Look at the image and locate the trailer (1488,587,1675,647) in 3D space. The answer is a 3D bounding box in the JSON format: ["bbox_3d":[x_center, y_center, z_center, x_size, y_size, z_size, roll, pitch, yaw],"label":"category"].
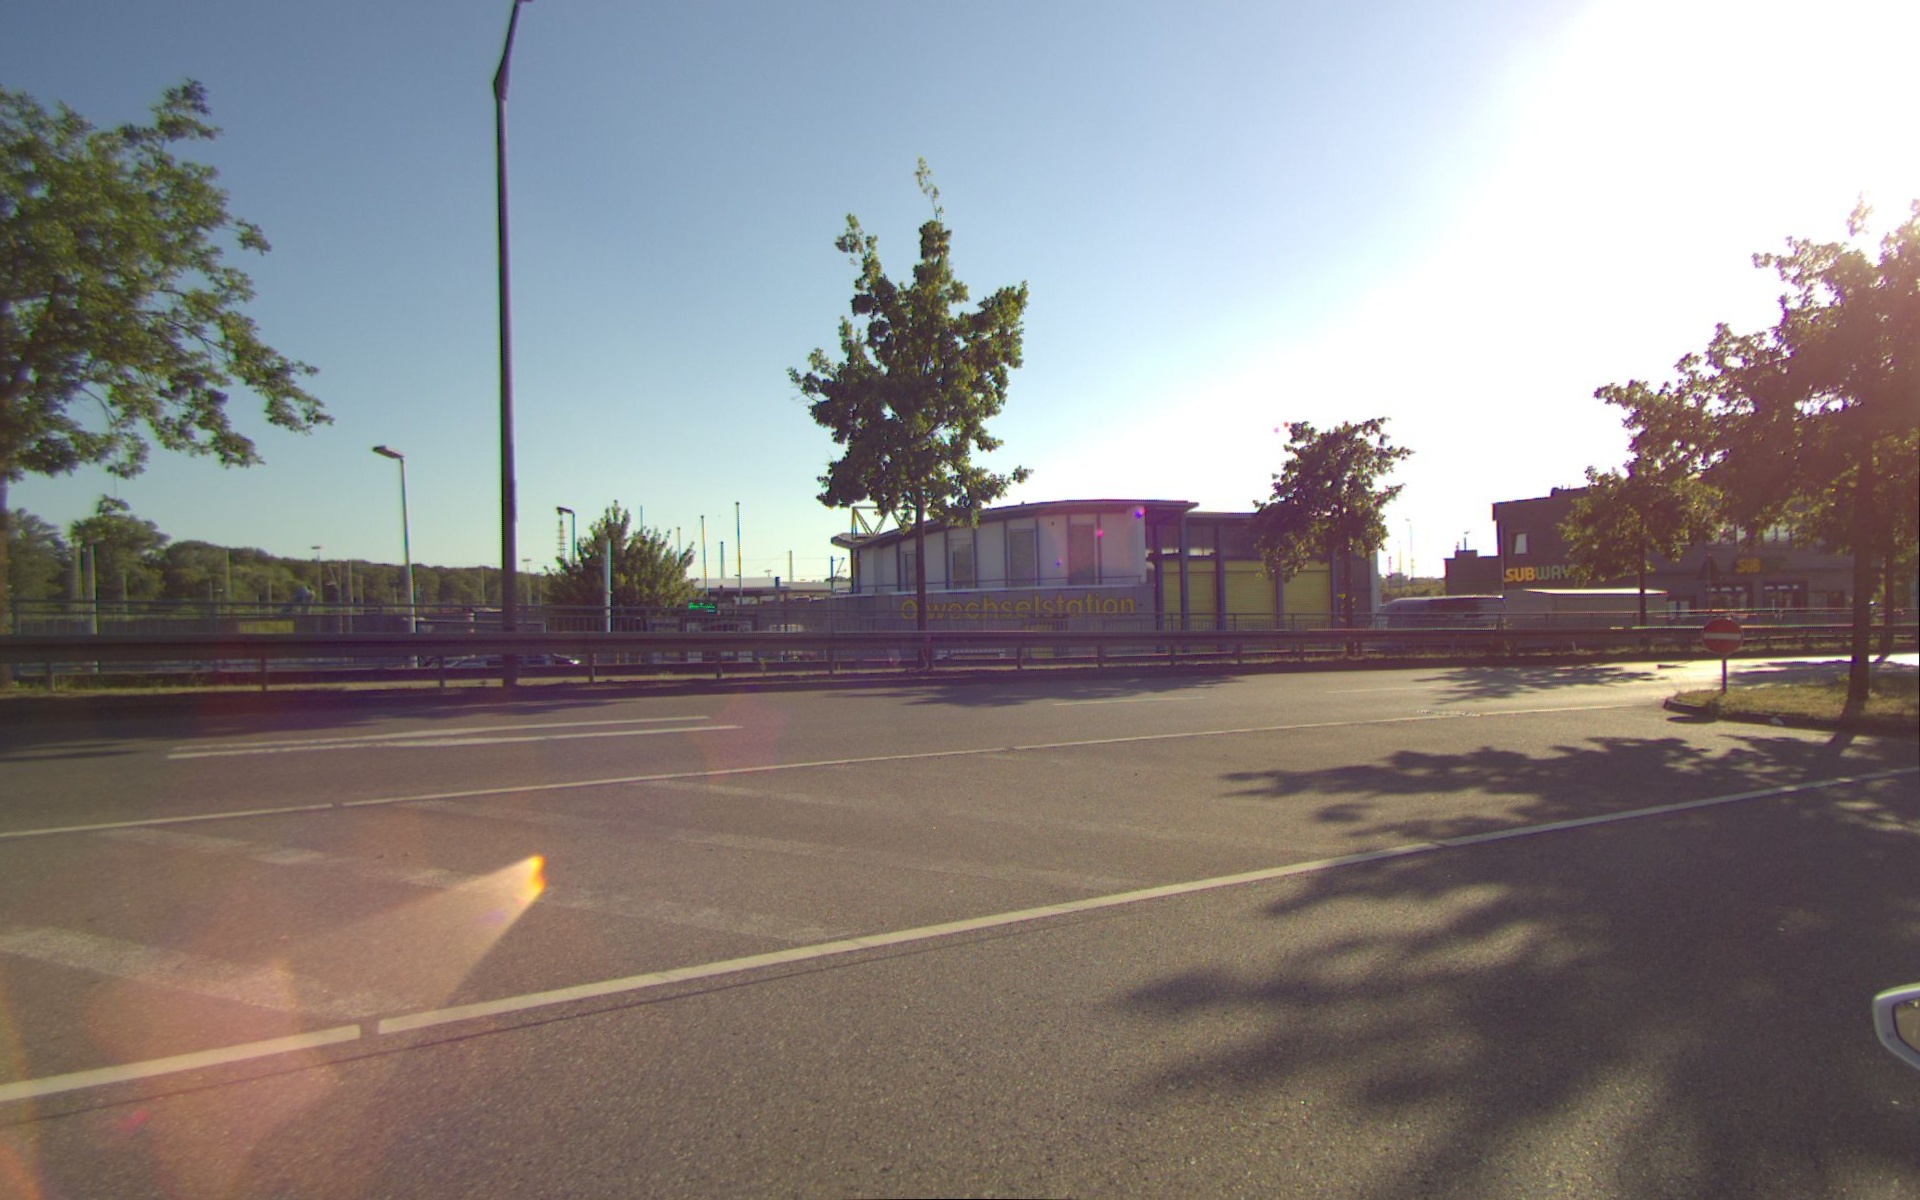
[{"bbox_3d":[22.051,0.588,35.610,6.512,1.996,2.413,0,0,-24],"label":"trailer"}]

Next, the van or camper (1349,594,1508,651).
[{"bbox_3d":[15.039,0.698,32.223,4.892,1.708,1.988,0,0,-25],"label":"van or camper"}]
